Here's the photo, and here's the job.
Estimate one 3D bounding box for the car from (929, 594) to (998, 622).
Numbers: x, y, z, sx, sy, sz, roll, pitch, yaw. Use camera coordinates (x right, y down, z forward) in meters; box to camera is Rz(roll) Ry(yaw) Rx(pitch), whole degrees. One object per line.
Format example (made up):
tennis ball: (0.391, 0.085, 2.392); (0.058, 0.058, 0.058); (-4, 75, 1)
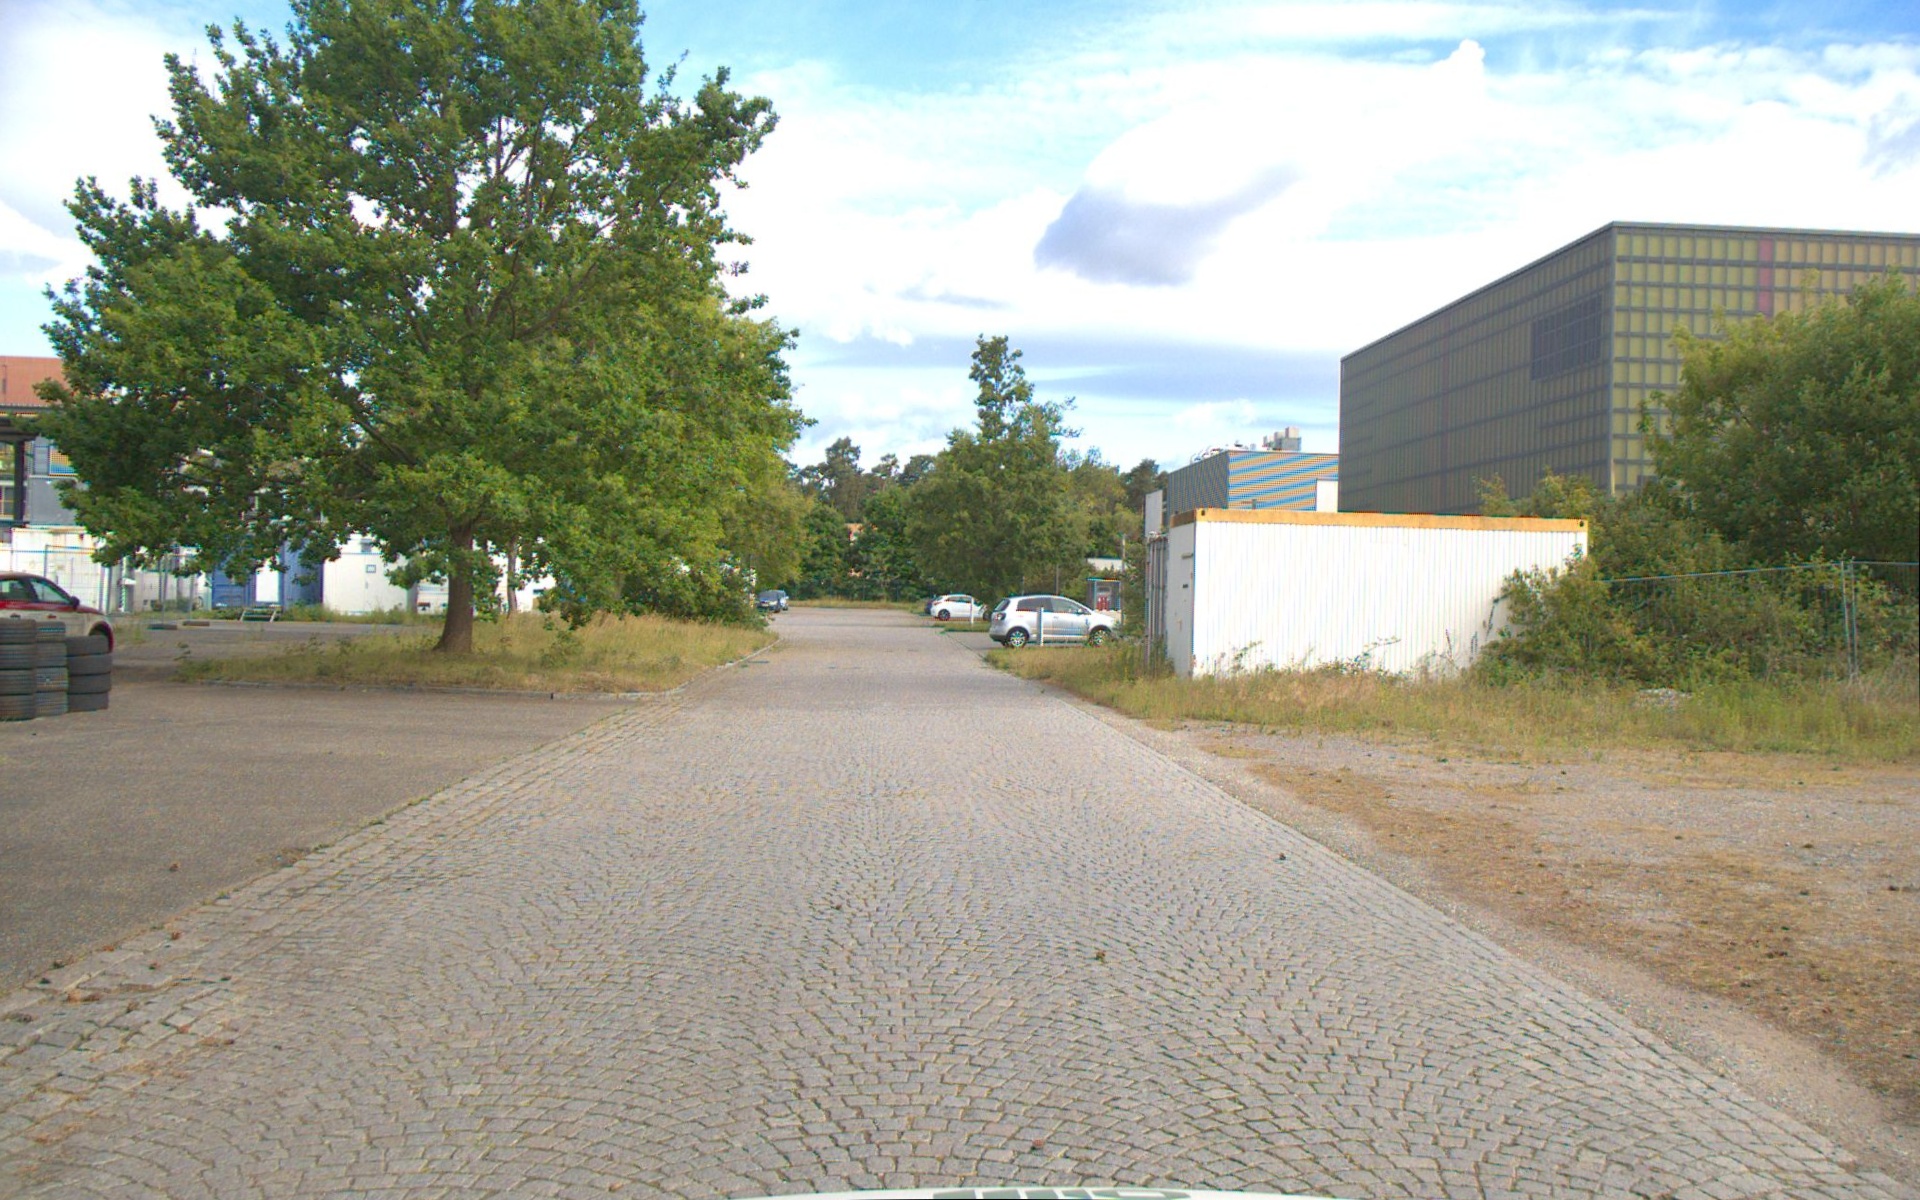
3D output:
car: (0.191, 0.473, 96.163); (3.945, 1.528, 1.547); (1, 0, -3)

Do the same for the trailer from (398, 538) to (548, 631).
trailer: (-17.892, -0.553, 61.439); (3.095, 3.121, 8.781); (1, 0, -2)

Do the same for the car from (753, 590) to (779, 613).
car: (-13.414, 0.116, 114.348); (1.701, 1.495, 4.041); (1, 0, -6)

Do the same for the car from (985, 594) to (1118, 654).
car: (2.736, 0.715, 50.111); (3.775, 1.683, 1.684); (1, 0, -6)

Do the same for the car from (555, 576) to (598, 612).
car: (-23.541, -0.381, 101.646); (1.888, 2.083, 4.595); (1, 0, -6)

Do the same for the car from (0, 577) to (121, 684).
car: (-14.081, 0.399, 24.176); (1.730, 1.478, 3.489); (1, 0, 2)
